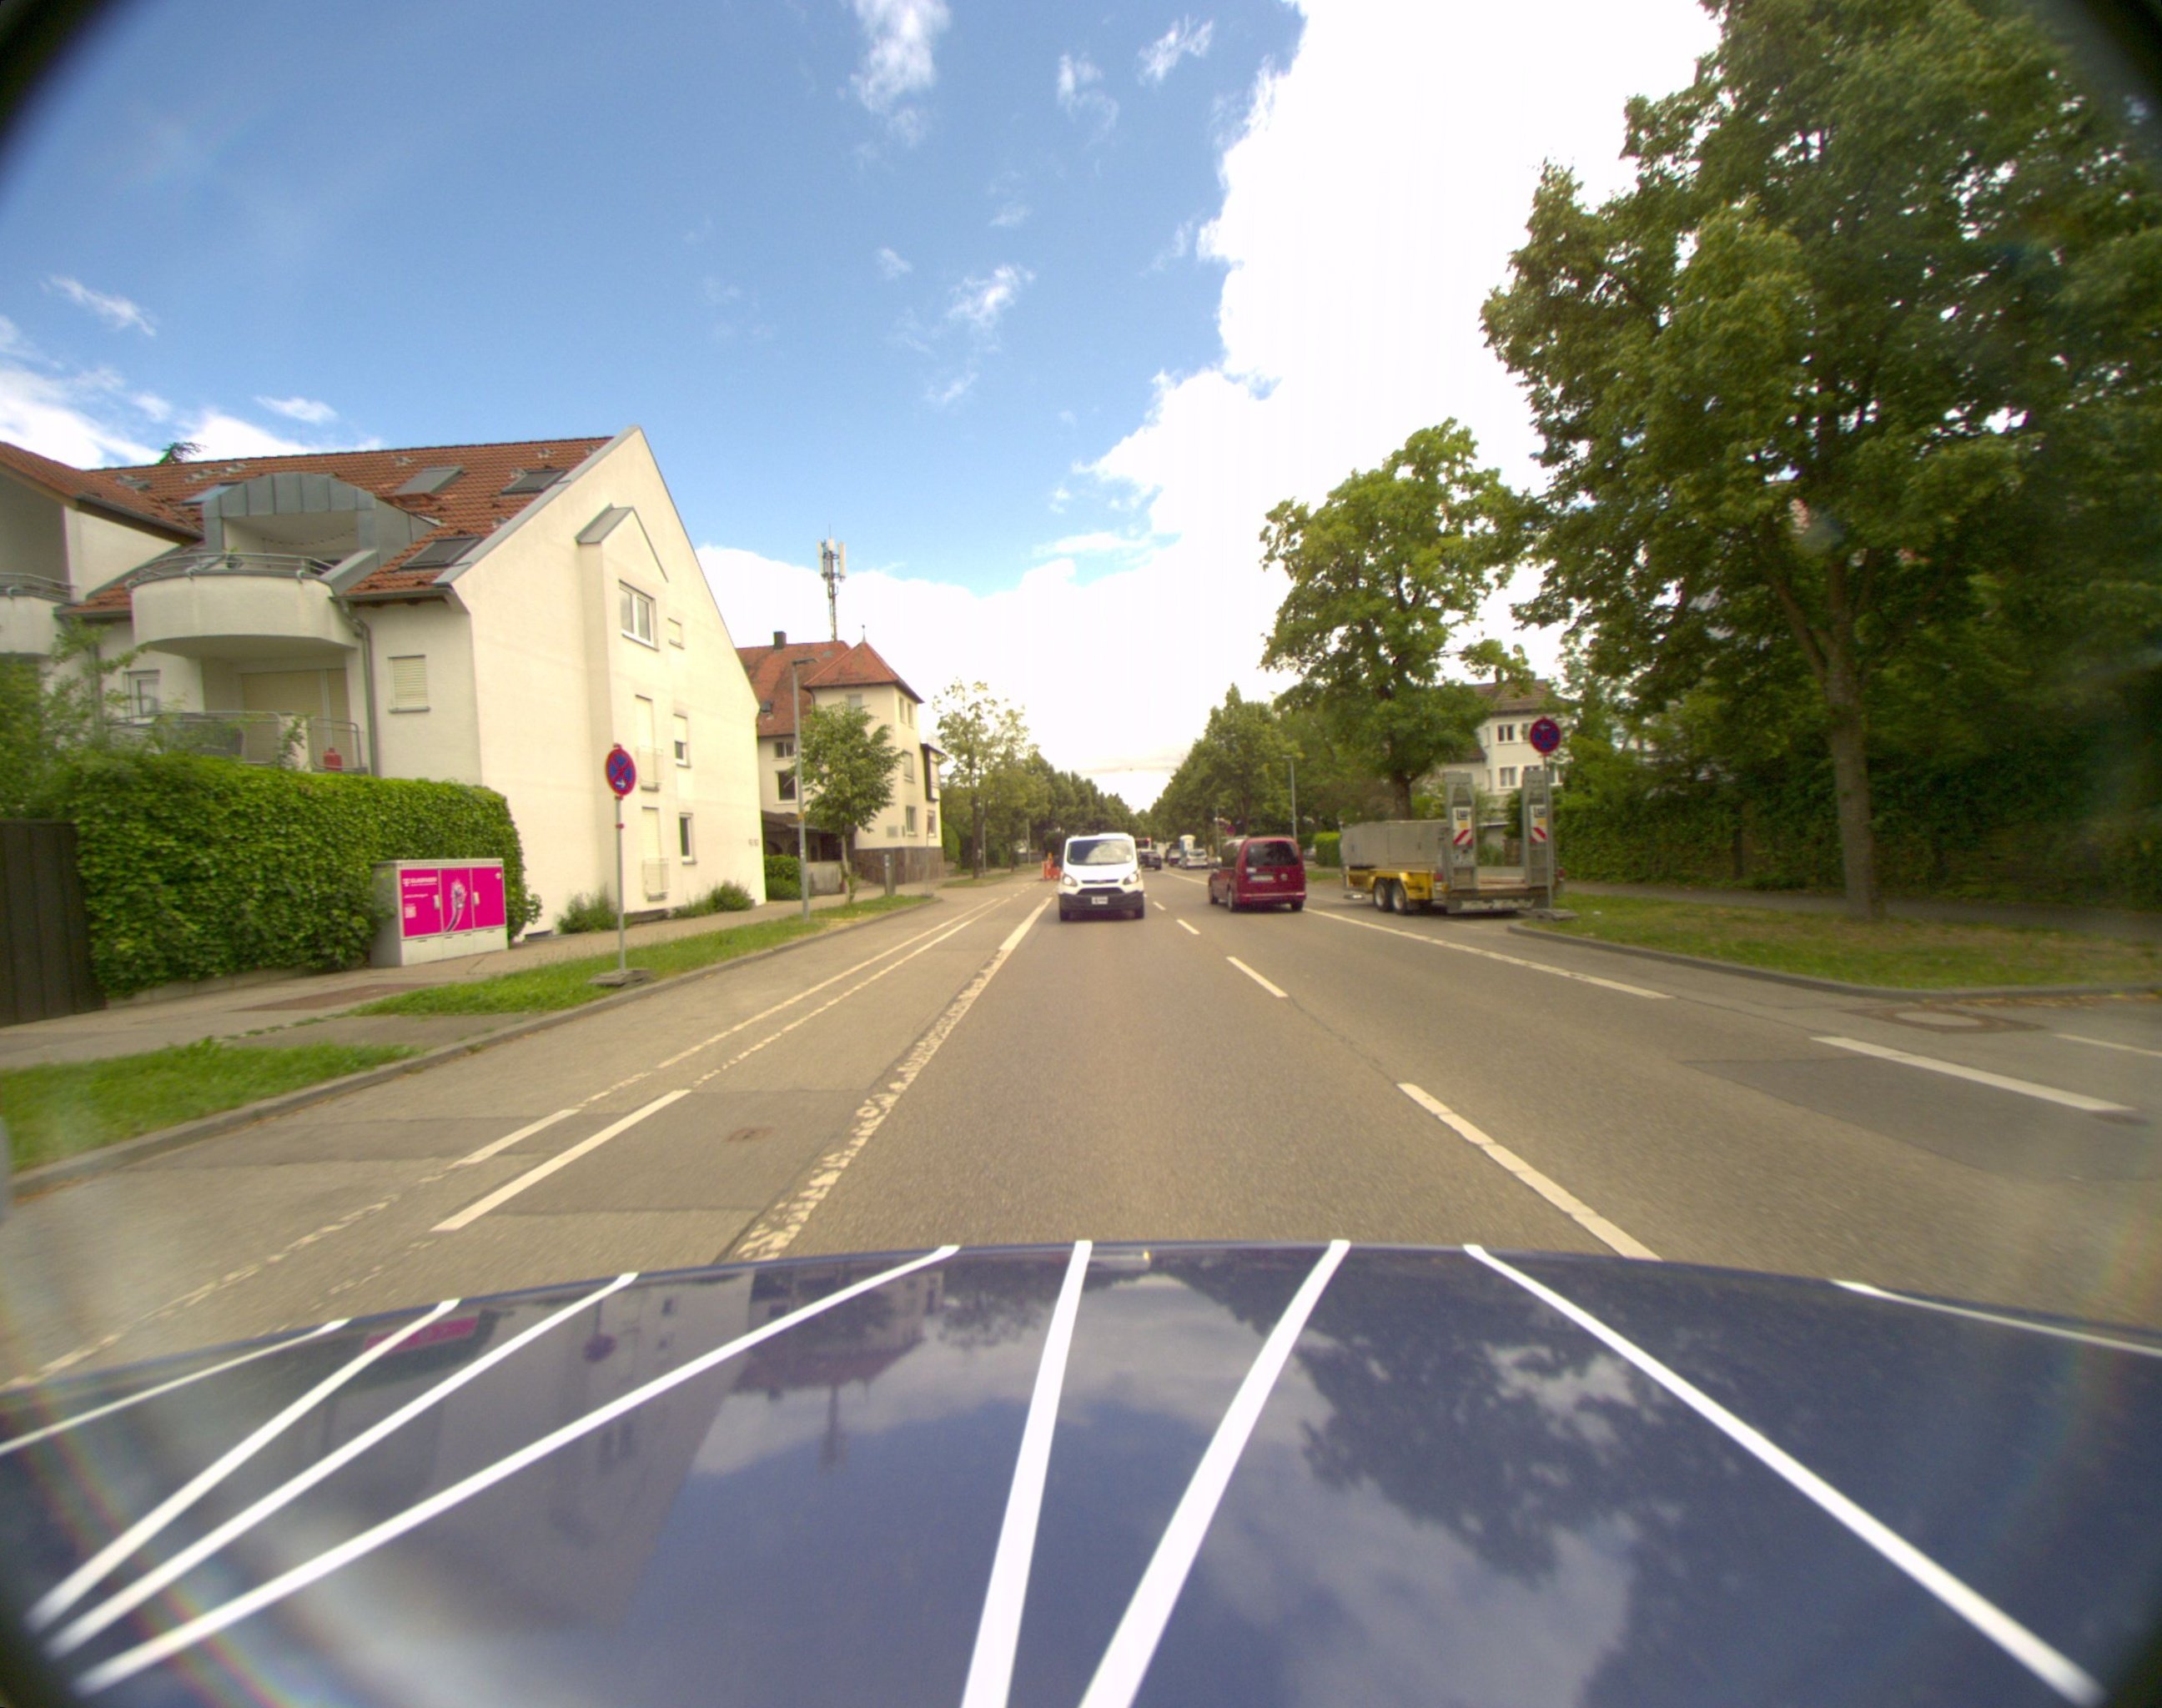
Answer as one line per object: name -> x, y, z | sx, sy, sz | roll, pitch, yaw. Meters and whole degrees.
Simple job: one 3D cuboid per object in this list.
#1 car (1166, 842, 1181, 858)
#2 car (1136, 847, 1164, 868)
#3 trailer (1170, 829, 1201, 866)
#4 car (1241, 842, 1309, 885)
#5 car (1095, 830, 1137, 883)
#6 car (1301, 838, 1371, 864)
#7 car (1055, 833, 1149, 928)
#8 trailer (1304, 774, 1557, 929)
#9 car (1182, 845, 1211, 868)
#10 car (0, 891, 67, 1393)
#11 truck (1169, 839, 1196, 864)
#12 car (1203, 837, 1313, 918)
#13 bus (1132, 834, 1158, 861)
car -> 11.547, -0.522, 95.391 | 1.711, 1.863, 4.400 | -2, 1, 6
car -> 5.536, 0.251, 61.157 | 1.998, 1.658, 4.589 | -1, 1, 2
trailer -> 9.094, -0.558, 66.444 | 2.377, 2.946, 7.012 | -2, 1, 6
car -> 8.455, 0.357, 33.495 | 1.865, 1.544, 4.618 | -3, 2, 1
car -> 1.889, 0.121, 40.661 | 1.998, 2.584, 4.001 | -3, 0, 3
car -> 16.834, -0.192, 50.378 | 4.087, 1.424, 1.802 | -4, 0, 9
car -> 0.613, 0.559, 19.346 | 1.998, 2.002, 5.319 | -2, 1, 3
trailer -> 7.983, -0.111, 18.679 | 2.680, 2.924, 7.474 | -3, 1, 0
car -> 9.052, 0.160, 59.807 | 1.693, 1.674, 4.225 | -3, 1, 2
car -> -4.457, 1.001, 0.856 | 1.636, 1.656, 3.647 | -2, 1, 1
truck -> 9.699, -0.271, 73.153 | 2.300, 2.274, 6.465 | -2, 1, 6
car -> 4.435, 0.525, 19.795 | 1.764, 1.793, 4.768 | -2, 0, 1
bus -> 8.537, -0.913, 100.158 | 2.810, 3.270, 18.051 | 0, 1, 7
